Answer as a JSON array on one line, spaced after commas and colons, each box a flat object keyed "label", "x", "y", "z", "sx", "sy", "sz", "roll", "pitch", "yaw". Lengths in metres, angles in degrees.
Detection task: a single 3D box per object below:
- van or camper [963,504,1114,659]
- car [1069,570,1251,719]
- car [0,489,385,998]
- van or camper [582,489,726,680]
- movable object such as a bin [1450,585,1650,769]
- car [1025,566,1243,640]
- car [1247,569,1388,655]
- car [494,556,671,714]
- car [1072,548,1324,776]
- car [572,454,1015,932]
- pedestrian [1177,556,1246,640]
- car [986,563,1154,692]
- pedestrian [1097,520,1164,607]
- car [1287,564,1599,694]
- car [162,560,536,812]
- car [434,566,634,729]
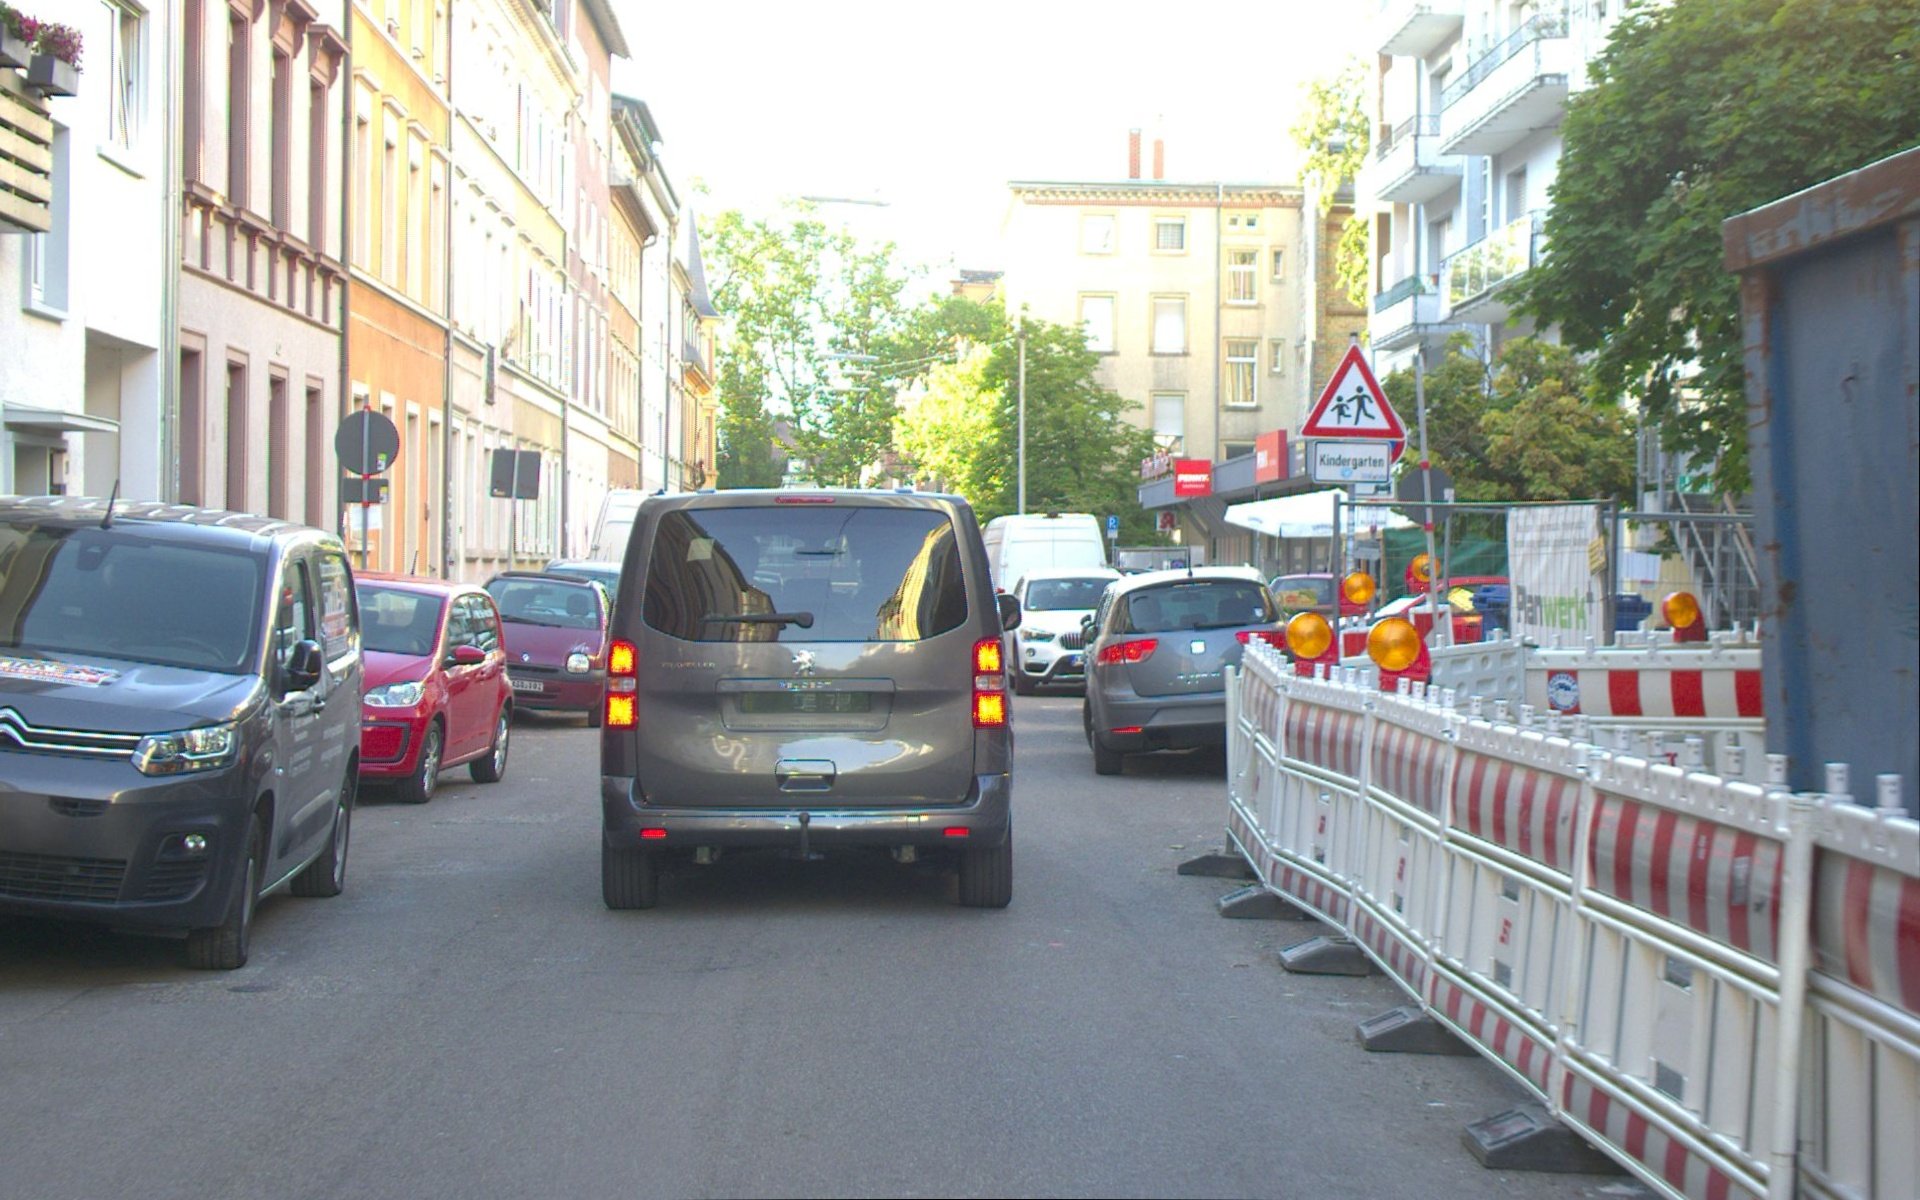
[{"label": "van or camper", "x": 1.329, "y": -0.356, "z": 61.630, "sx": 2.099, "sy": 2.593, "sz": 7.513, "roll": 0, "pitch": 1, "yaw": -3}, {"label": "car", "x": 2.127, "y": 0.441, "z": 37.446, "sx": 1.620, "sy": 1.481, "sz": 4.125, "roll": -1, "pitch": 1, "yaw": -1}, {"label": "car", "x": -3.772, "y": 0.486, "z": 14.874, "sx": 1.993, "sy": 1.852, "sz": 4.585, "roll": 1, "pitch": 1, "yaw": -3}, {"label": "van or camper", "x": -4.496, "y": -0.250, "z": 51.315, "sx": 1.949, "sy": 2.640, "sz": 7.142, "roll": 0, "pitch": 1, "yaw": -4}, {"label": "movable object such as a bin", "x": 4.598, "y": 0.597, "z": 26.809, "sx": 1.250, "sy": 1.371, "sz": 0.802, "roll": 2, "pitch": 0, "yaw": -27}, {"label": "car", "x": 3.809, "y": 0.062, "z": 75.869, "sx": 4.625, "sy": 1.461, "sz": 1.841, "roll": -2, "pitch": 1, "yaw": -2}, {"label": "car", "x": 6.141, "y": 0.183, "z": 58.848, "sx": 1.602, "sy": 1.411, "sz": 3.225, "roll": 0, "pitch": 1, "yaw": 21}, {"label": "car", "x": -4.325, "y": 0.359, "z": 39.857, "sx": 1.711, "sy": 1.638, "sz": 3.980, "roll": 3, "pitch": 1, "yaw": -3}, {"label": "car", "x": 1.878, "y": 0.446, "z": 28.363, "sx": 1.749, "sy": 1.677, "sz": 4.525, "roll": 2, "pitch": 1, "yaw": 0}, {"label": "car", "x": -0.791, "y": 0.365, "z": 16.676, "sx": 1.857, "sy": 2.007, "sz": 4.000, "roll": -1, "pitch": 1, "yaw": -2}, {"label": "pedestrian", "x": 5.172, "y": -0.052, "z": 70.664, "sx": 0.932, "sy": 1.714, "sz": 1.063, "roll": -1, "pitch": 1, "yaw": -36}, {"label": "car", "x": 1.406, "y": 0.330, "z": 45.602, "sx": 1.722, "sy": 1.606, "sz": 4.589, "roll": 1, "pitch": 0, "yaw": -4}, {"label": "pedestrian", "x": 3.106, "y": -0.670, "z": 62.631, "sx": 0.870, "sy": 1.550, "sz": 0.876, "roll": -2, "pitch": 1, "yaw": -23}, {"label": "car", "x": 6.506, "y": 0.381, "z": 46.553, "sx": 3.895, "sy": 1.602, "sz": 1.694, "roll": 2, "pitch": 0, "yaw": -2}, {"label": "car", "x": -4.204, "y": 0.545, "z": 24.189, "sx": 1.669, "sy": 1.480, "sz": 3.605, "roll": 6, "pitch": 1, "yaw": 3}, {"label": "car", "x": -4.231, "y": 0.440, "z": 34.568, "sx": 1.657, "sy": 1.443, "sz": 3.286, "roll": 4, "pitch": 0, "yaw": -3}]
